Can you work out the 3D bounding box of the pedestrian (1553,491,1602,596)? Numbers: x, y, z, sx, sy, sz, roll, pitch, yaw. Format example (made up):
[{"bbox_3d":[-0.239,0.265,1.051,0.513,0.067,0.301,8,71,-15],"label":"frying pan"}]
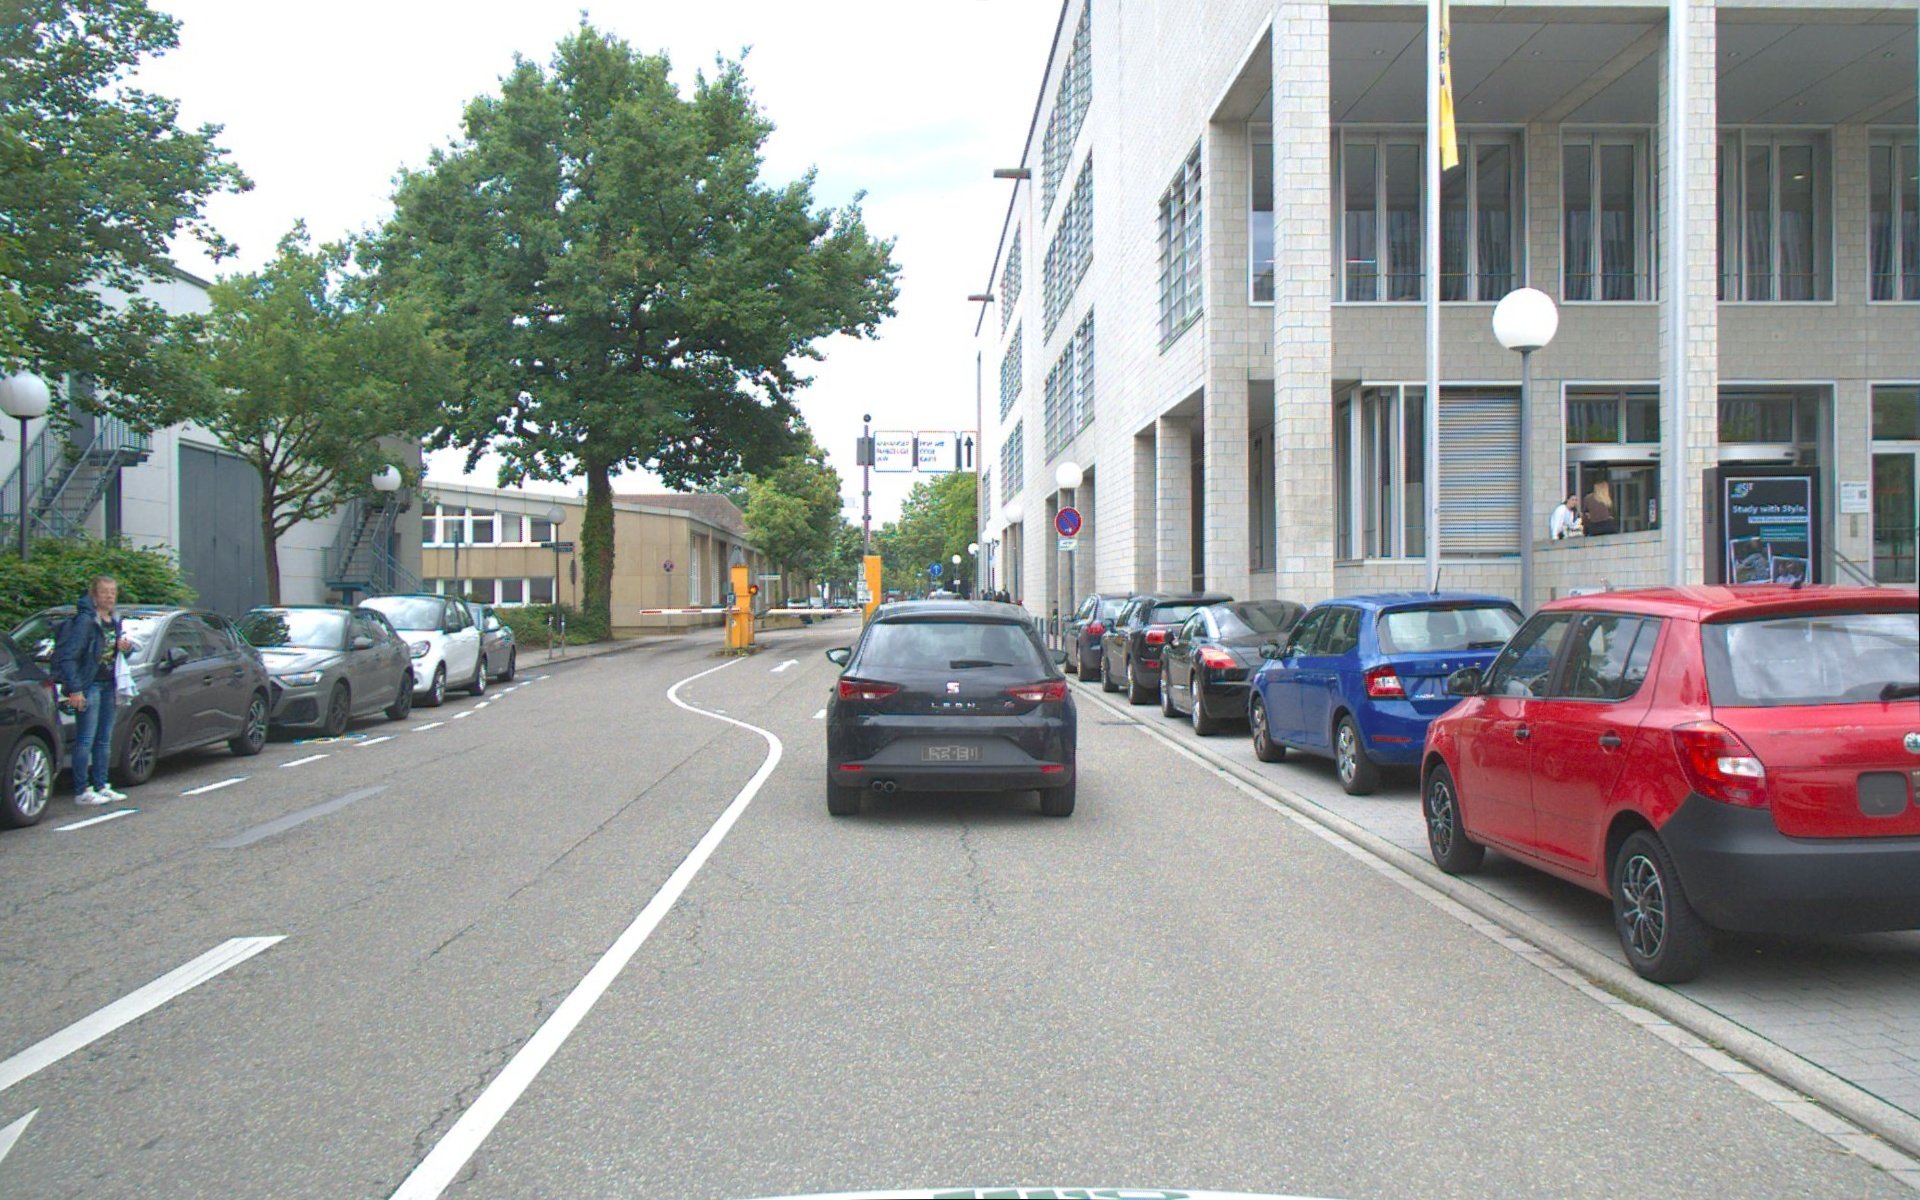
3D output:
[{"bbox_3d":[10.063,-0.927,26.972,0.616,1.687,0.808,1,2,14],"label":"pedestrian"}]

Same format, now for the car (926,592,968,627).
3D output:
[{"bbox_3d":[-0.687,0.491,83.989,1.954,1.651,4.425,-2,-1,-3],"label":"car"}]

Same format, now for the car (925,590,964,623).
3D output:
[{"bbox_3d":[-0.844,0.330,88.514,1.953,1.651,4.426,-2,0,-2],"label":"car"}]

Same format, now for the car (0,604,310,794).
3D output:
[{"bbox_3d":[-7.530,0.804,15.156,1.726,1.497,3.823,-1,0,-2],"label":"car"}]

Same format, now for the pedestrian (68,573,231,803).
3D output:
[{"bbox_3d":[-6.233,0.647,12.767,0.723,1.690,0.968,-1,1,0],"label":"pedestrian"}]

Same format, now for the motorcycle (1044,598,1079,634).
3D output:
[{"bbox_3d":[3.614,0.549,58.690,0.554,1.168,2.217,1,2,22],"label":"motorcycle"}]

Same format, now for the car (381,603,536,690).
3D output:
[{"bbox_3d":[-8.881,0.778,29.638,1.782,1.413,4.190,0,0,-4],"label":"car"}]

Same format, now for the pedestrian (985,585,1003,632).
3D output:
[{"bbox_3d":[1.286,0.305,62.052,0.598,1.744,0.575,-1,0,2],"label":"pedestrian"}]

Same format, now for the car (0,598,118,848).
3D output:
[{"bbox_3d":[-7.040,0.825,9.919,1.761,1.588,4.529,-1,1,-2],"label":"car"}]

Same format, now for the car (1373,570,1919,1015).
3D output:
[{"bbox_3d":[3.462,0.651,7.991,1.678,1.499,4.272,-3,1,-2],"label":"car"}]

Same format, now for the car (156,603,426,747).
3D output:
[{"bbox_3d":[-7.680,0.789,19.397,1.728,1.436,4.006,-1,1,-3],"label":"car"}]

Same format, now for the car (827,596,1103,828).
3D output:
[{"bbox_3d":[-0.050,0.703,12.555,1.746,1.444,4.128,0,0,-2],"label":"car"}]

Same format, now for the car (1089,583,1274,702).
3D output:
[{"bbox_3d":[3.052,0.538,23.715,1.782,1.468,4.518,-2,0,-3],"label":"car"}]

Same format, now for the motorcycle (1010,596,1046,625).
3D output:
[{"bbox_3d":[3.104,0.472,75.266,0.744,1.168,2.663,1,2,22],"label":"motorcycle"}]

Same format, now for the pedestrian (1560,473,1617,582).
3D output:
[{"bbox_3d":[9.899,-1.142,26.051,0.788,1.687,0.631,1,2,23],"label":"pedestrian"}]

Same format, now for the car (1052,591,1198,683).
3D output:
[{"bbox_3d":[2.837,0.608,29.544,1.953,1.477,4.920,-1,0,-2],"label":"car"}]

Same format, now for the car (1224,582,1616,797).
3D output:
[{"bbox_3d":[3.549,0.626,13.660,1.662,1.436,4.372,-1,0,-5],"label":"car"}]

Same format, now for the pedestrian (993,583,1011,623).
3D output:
[{"bbox_3d":[1.845,0.128,72.513,0.714,1.728,0.587,0,2,-7],"label":"pedestrian"}]

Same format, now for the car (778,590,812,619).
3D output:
[{"bbox_3d":[-9.535,0.265,95.646,1.735,1.629,3.998,0,0,-3],"label":"car"}]

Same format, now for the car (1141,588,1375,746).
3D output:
[{"bbox_3d":[3.238,0.658,18.829,1.811,1.467,4.418,-1,2,-1],"label":"car"}]

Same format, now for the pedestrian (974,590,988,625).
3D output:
[{"bbox_3d":[1.037,0.381,81.940,0.682,1.744,0.489,0,0,2],"label":"pedestrian"}]

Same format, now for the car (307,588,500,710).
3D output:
[{"bbox_3d":[-8.092,0.652,24.403,1.681,1.613,3.876,0,1,-3],"label":"car"}]
